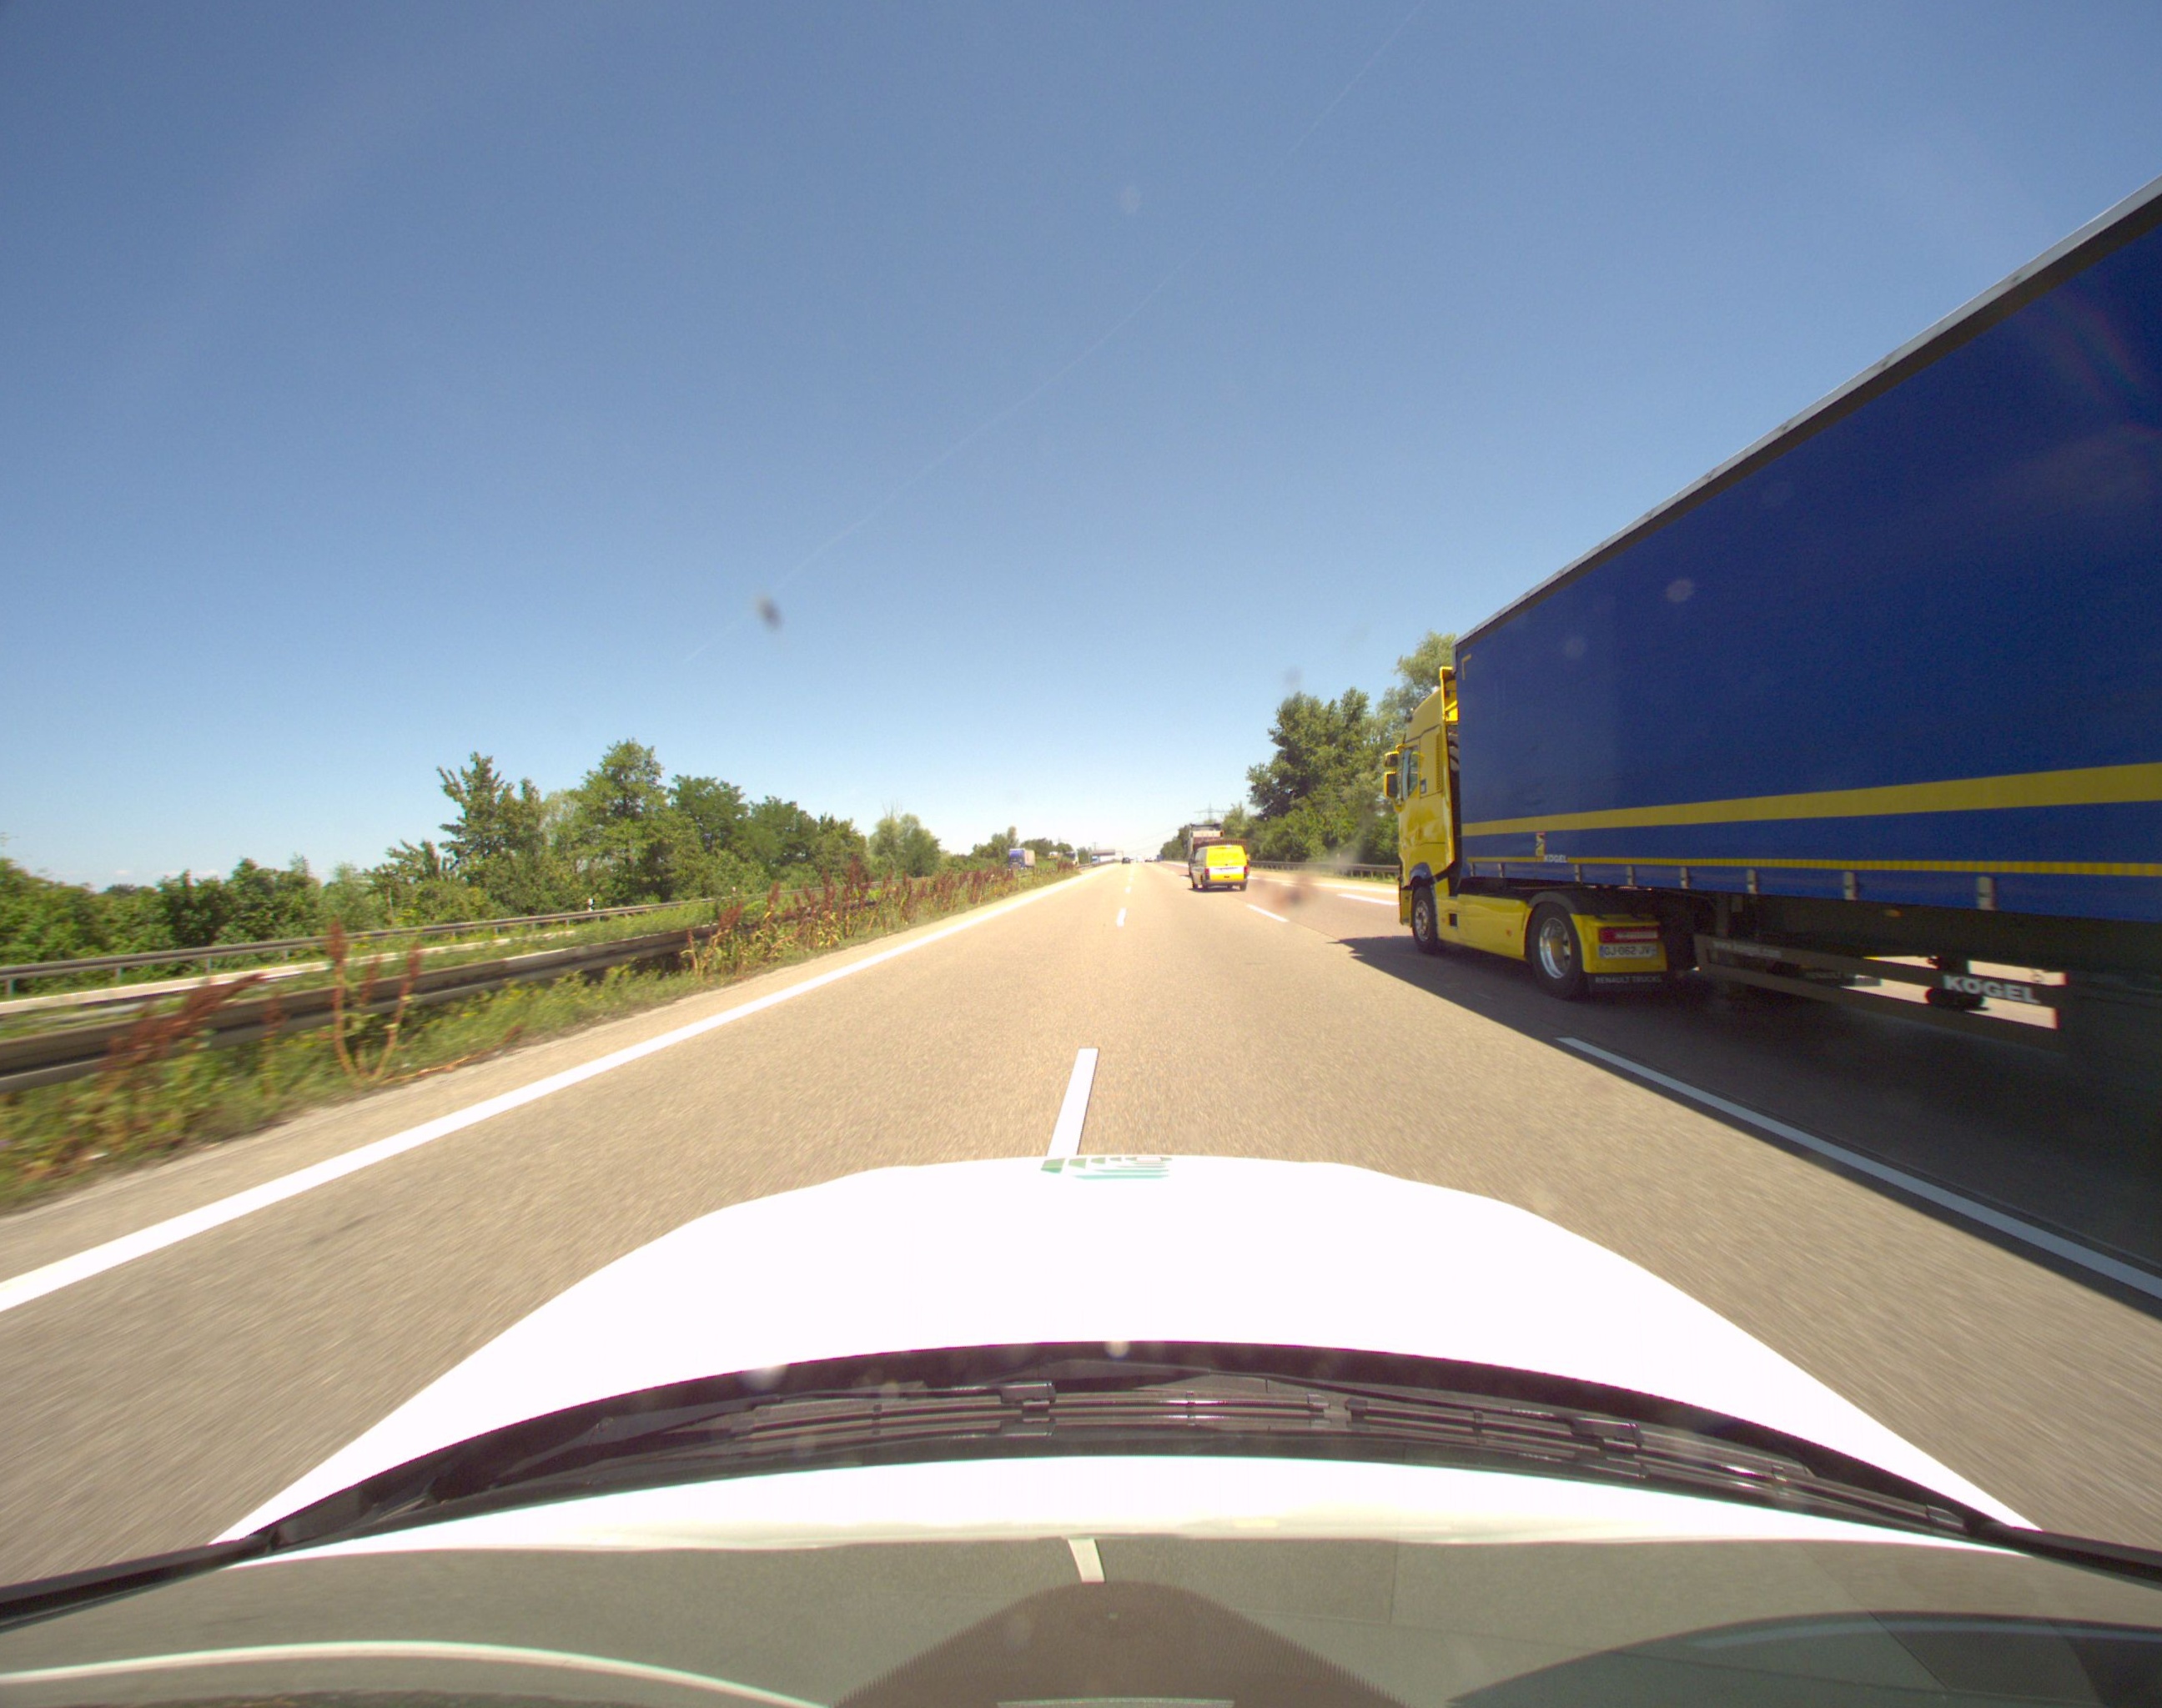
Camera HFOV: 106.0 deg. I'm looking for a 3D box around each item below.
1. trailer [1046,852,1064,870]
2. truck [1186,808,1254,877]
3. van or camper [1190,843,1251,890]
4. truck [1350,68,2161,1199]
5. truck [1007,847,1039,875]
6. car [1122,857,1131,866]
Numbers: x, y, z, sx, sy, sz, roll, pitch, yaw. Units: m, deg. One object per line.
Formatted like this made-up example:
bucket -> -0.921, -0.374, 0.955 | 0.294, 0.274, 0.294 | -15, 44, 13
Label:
trailer -> -6.236, 1.684, 196.737 | 2.909, 3.967, 11.662 | -5, -1, 4
truck -> 9.200, -0.564, 55.829 | 2.956, 3.957, 16.631 | -2, -1, 4
van or camper -> 6.065, 0.523, 35.931 | 1.986, 1.909, 4.974 | -2, 0, 2
truck -> 5.672, -0.816, 5.553 | 2.833, 4.257, 16.804 | -3, -1, 3
truck -> -10.035, 1.177, 142.454 | 2.942, 4.342, 17.485 | -4, -1, 3
car -> 9.718, 1.598, 173.787 | 1.783, 2.014, 3.891 | -1, -1, 4
